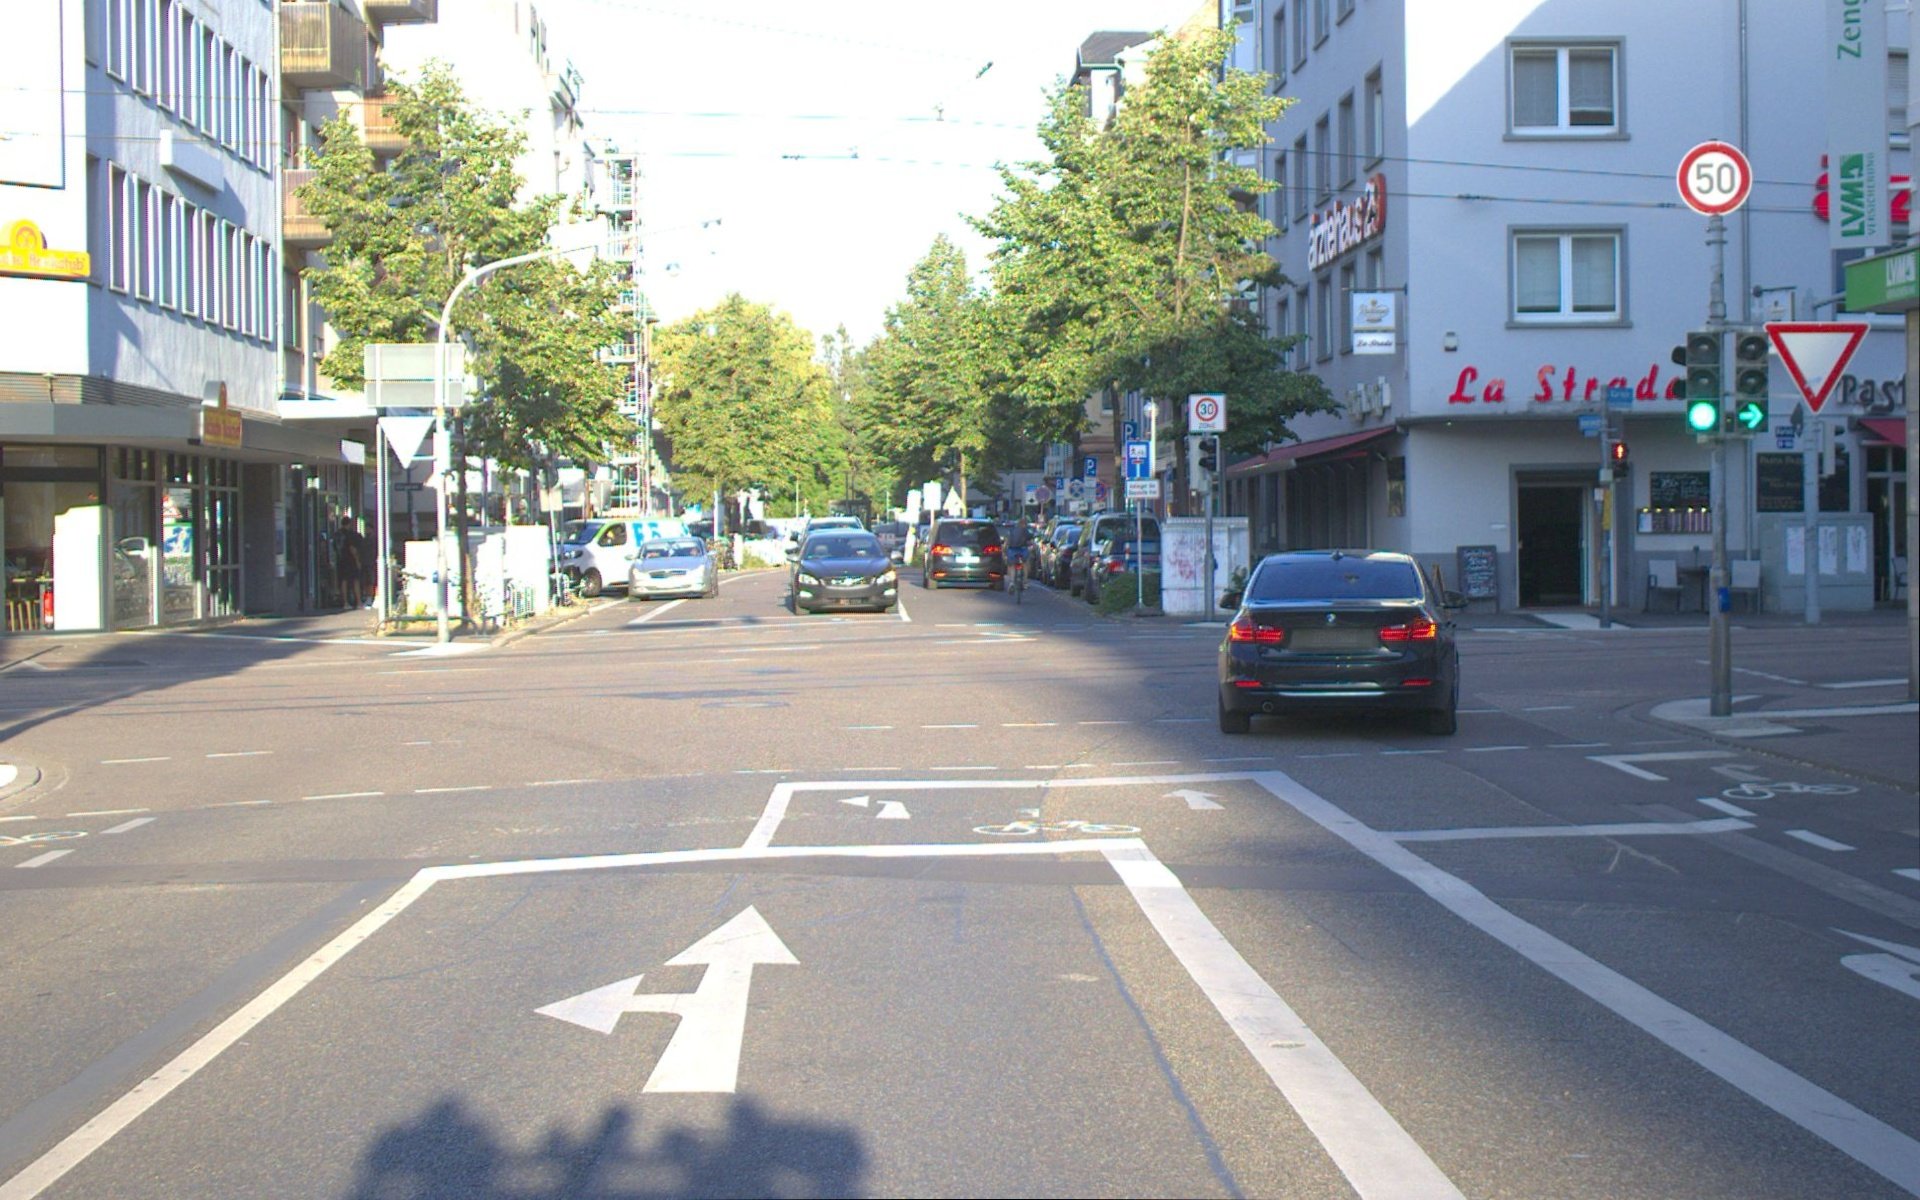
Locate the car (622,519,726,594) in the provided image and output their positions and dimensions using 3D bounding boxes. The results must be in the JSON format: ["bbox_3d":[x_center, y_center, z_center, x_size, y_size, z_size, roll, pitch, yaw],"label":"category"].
[{"bbox_3d":[-6.361,-0.969,76.826,1.993,1.506,4.510,-3,1,-2],"label":"car"}]

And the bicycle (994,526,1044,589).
[{"bbox_3d":[1.148,-0.835,67.378,0.780,1.200,2.021,-1,1,-4],"label":"bicycle"}]

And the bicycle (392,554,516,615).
[{"bbox_3d":[-8.450,-0.259,57.479,2.009,0.988,0.491,1,0,-5],"label":"bicycle"}]

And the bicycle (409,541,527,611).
[{"bbox_3d":[-8.717,-0.428,60.986,2.009,1.214,0.491,1,0,-1],"label":"bicycle"}]

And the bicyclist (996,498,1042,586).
[{"bbox_3d":[1.146,-1.128,67.347,0.780,1.690,1.007,-1,1,-4],"label":"bicyclist"}]

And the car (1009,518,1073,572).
[{"bbox_3d":[2.533,-1.724,108.460,1.812,1.662,4.206,1,1,-1],"label":"car"}]

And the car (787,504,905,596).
[{"bbox_3d":[-2.093,-0.937,61.883,1.958,1.542,4.510,-1,2,-4],"label":"car"}]

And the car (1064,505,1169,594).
[{"bbox_3d":[3.224,-1.074,71.494,1.654,1.772,4.012,1,2,-5],"label":"car"}]

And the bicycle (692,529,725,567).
[{"bbox_3d":[-9.218,-1.899,126.052,0.892,1.391,3.167,0,1,-10],"label":"bicycle"}]

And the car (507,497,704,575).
[{"bbox_3d":[-8.626,-1.541,84.037,1.998,1.821,4.870,1,1,37],"label":"car"}]

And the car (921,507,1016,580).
[{"bbox_3d":[0.221,-1.270,78.537,1.994,1.596,4.509,1,1,2],"label":"car"}]

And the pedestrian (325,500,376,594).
[{"bbox_3d":[-12.063,-1.058,68.074,0.768,1.841,0.743,0,2,8],"label":"pedestrian"}]

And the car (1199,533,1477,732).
[{"bbox_3d":[2.997,0.214,27.302,1.994,1.415,4.508,1,1,6],"label":"car"}]

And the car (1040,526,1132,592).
[{"bbox_3d":[2.867,-0.968,79.229,1.752,1.415,4.510,1,2,-2],"label":"car"}]

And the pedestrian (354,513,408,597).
[{"bbox_3d":[-11.613,-0.901,68.973,0.769,1.670,0.741,1,1,41],"label":"pedestrian"}]

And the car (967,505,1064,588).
[{"bbox_3d":[1.072,-1.041,68.059,1.723,1.544,4.465,-1,1,-1],"label":"car"}]

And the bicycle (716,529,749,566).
[{"bbox_3d":[-8.355,-1.931,126.203,0.844,1.346,3.188,-1,1,-10],"label":"bicycle"}]

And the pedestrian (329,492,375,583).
[{"bbox_3d":[-12.313,-1.278,69.647,0.740,1.812,0.813,-1,2,1],"label":"pedestrian"}]
